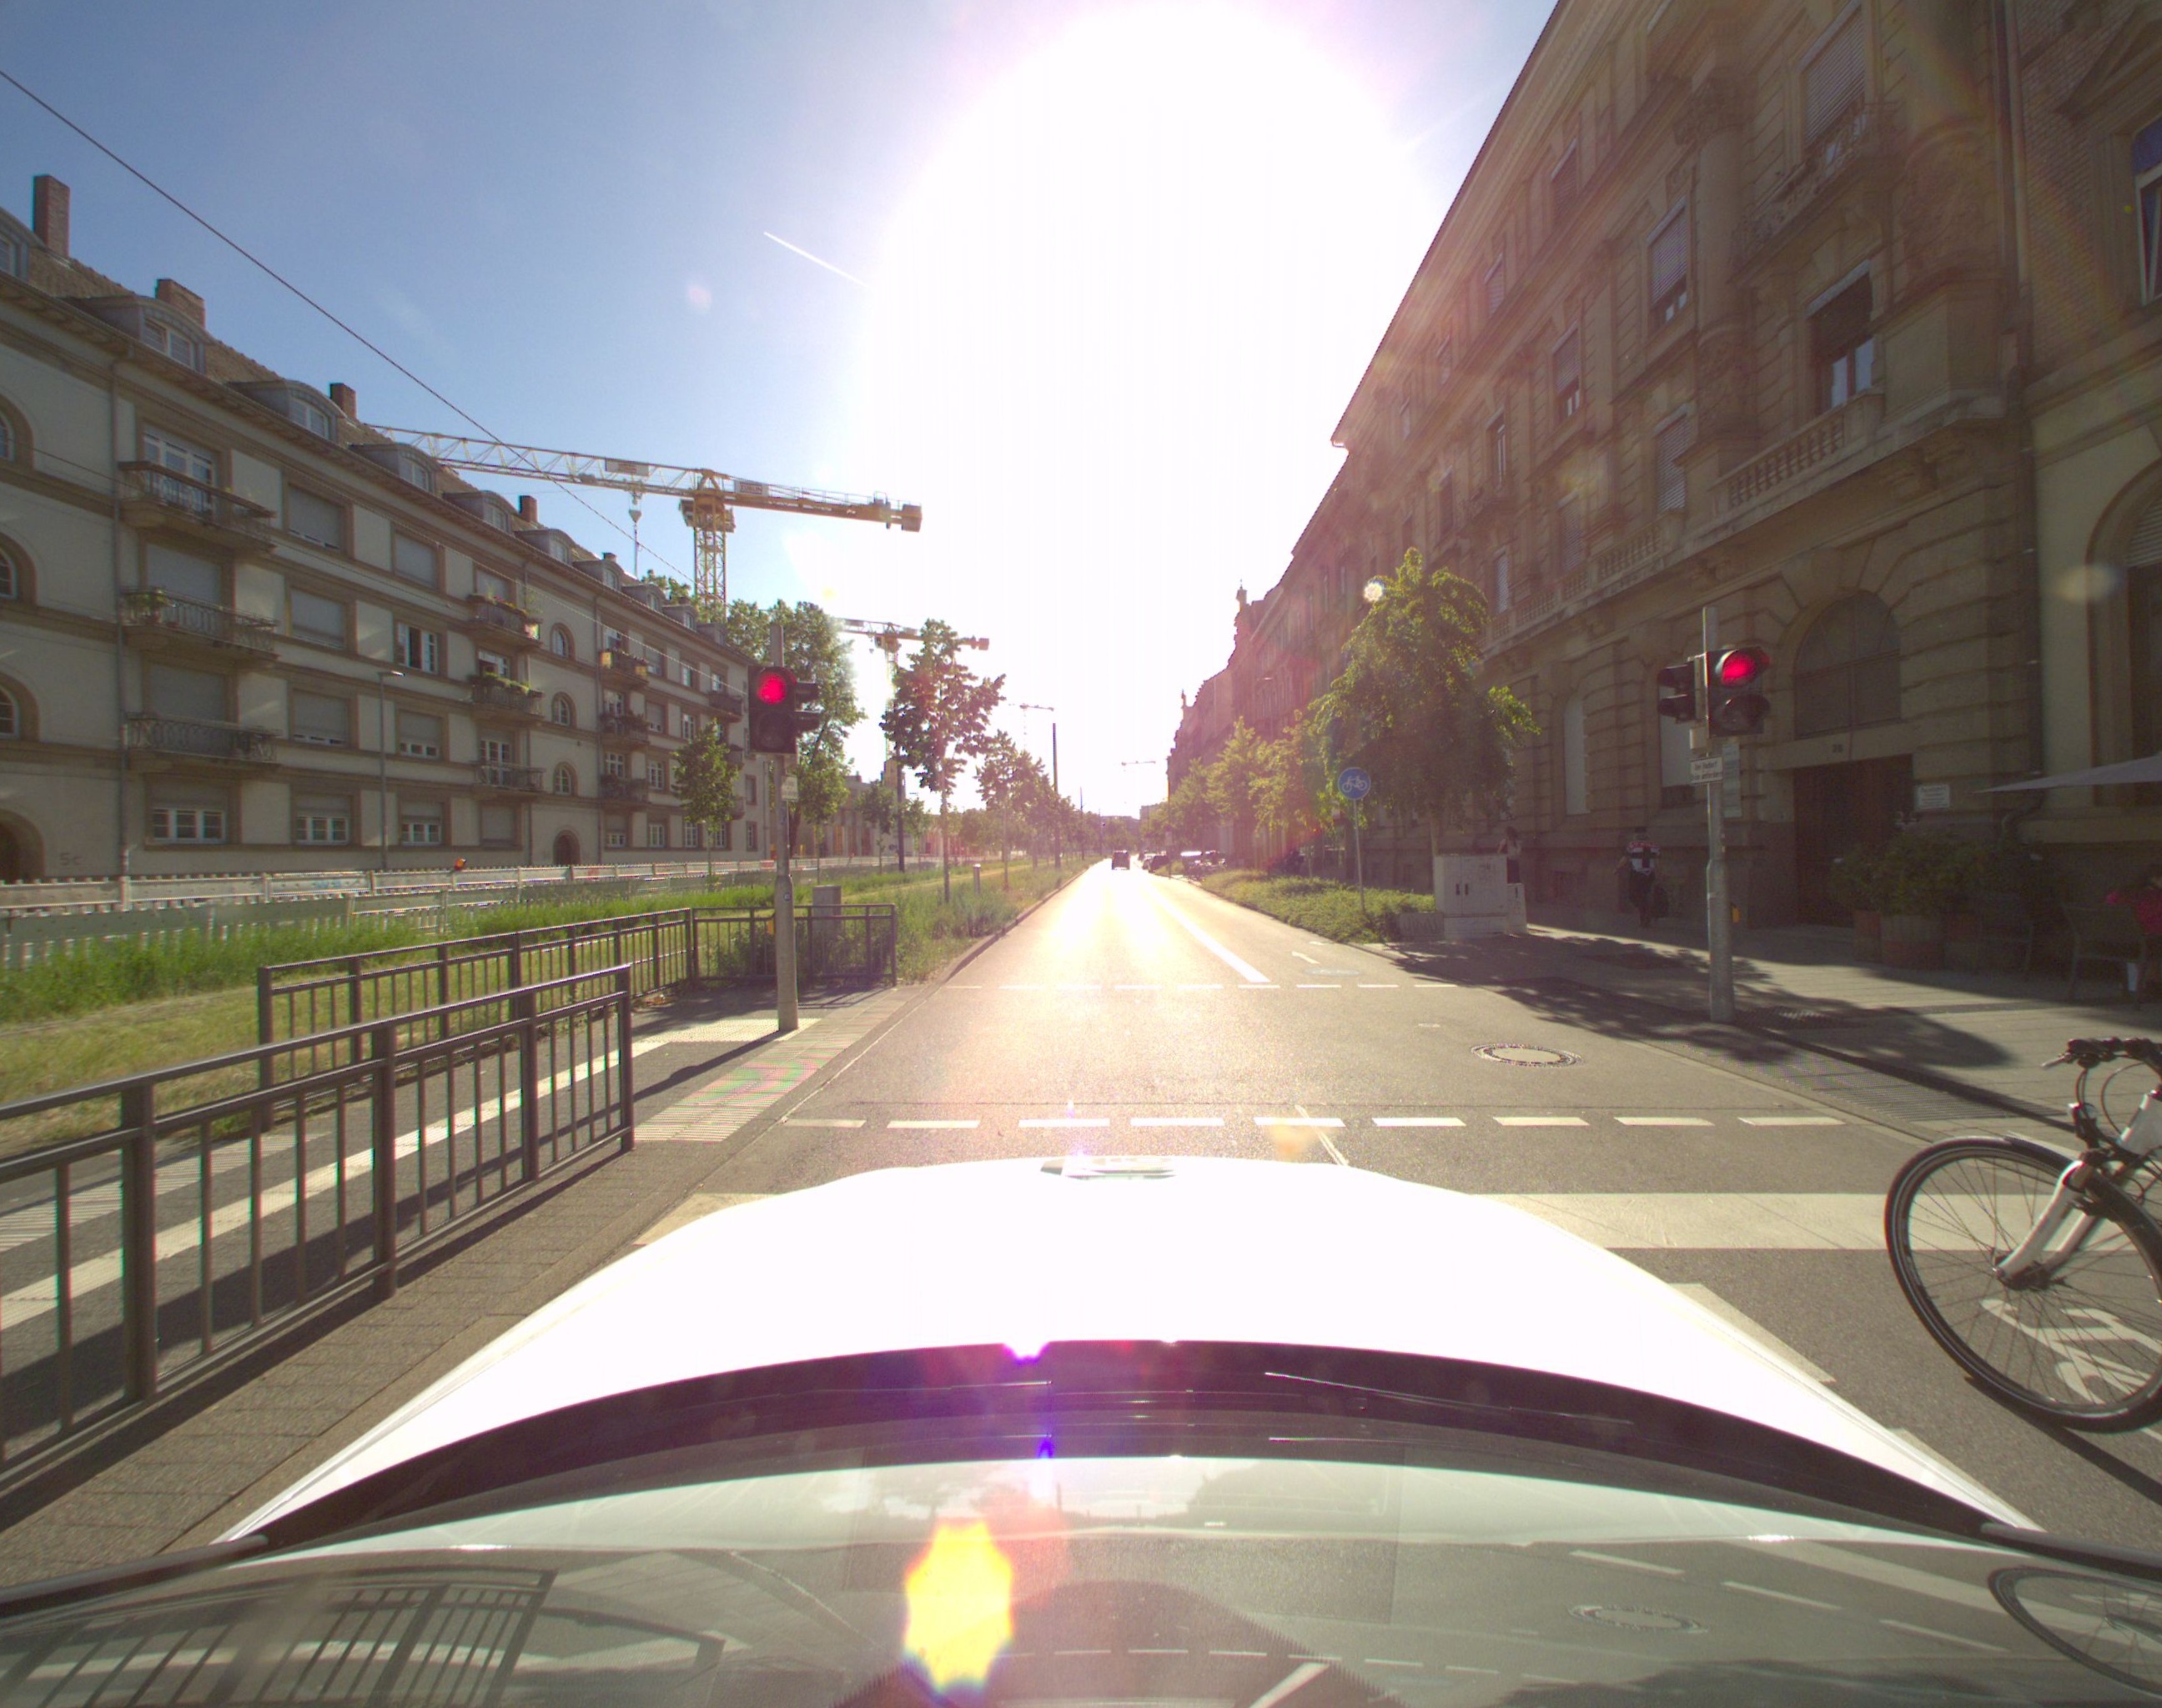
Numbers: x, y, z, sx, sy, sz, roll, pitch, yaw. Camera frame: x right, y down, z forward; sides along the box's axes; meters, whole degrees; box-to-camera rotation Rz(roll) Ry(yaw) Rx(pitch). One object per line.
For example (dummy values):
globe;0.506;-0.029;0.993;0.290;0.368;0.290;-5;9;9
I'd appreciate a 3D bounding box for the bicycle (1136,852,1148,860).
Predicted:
bicycle;10.269;0.273;137.611;1.875;1.233;0.499;-4;-1;-4

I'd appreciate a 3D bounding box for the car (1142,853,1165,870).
car;7.066;0.728;80.276;1.944;1.495;5.108;-3;0;2

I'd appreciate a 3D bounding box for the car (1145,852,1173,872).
car;6.465;0.657;67.575;1.760;1.477;4.447;-4;-1;-1

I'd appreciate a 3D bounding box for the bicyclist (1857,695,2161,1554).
bicyclist;2.635;0.571;1.828;0.722;1.817;1.088;0;0;-7

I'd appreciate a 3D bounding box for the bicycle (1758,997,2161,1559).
bicycle;2.650;0.987;1.705;0.722;1.006;1.948;0;0;-6

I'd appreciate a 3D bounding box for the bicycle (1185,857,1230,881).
bicycle;6.619;0.779;42.590;2.287;1.102;0.484;-3;0;-13

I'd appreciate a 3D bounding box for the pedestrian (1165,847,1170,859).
pedestrian;14.585;-0.198;137.556;0.814;2.014;1.046;0;-3;2

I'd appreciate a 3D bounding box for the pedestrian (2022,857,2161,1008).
pedestrian;8.925;0.630;6.955;0.715;1.183;0.881;-2;-1;1

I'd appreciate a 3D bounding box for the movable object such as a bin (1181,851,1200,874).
movable object such as a bin;7.329;0.532;54.667;1.264;1.463;1.647;0;2;7

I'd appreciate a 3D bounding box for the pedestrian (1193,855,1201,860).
pedestrian;14.337;0.458;100.702;0.770;0.553;2.008;-2;1;2

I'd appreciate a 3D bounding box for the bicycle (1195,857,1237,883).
bicycle;6.575;0.776;39.607;1.887;1.108;0.517;-3;-1;-4

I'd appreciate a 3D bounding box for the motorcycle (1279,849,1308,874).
motorcycle;11.523;0.404;44.249;0.862;1.266;2.983;0;-1;2

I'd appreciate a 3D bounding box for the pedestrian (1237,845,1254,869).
pedestrian;11.667;0.197;57.941;0.967;1.639;0.993;-3;1;2

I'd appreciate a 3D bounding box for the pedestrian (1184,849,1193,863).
pedestrian;13.030;0.249;98.566;0.992;1.731;0.866;0;-1;1

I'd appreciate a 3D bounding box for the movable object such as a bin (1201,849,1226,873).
movable object such as a bin;8.925;0.466;54.802;1.368;1.495;1.750;-4;-1;3

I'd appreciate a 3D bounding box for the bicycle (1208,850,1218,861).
bicycle;13.551;0.195;83.935;0.718;1.090;2.200;-3;0;2

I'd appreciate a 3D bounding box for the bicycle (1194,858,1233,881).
bicycle;6.671;0.772;41.079;1.811;1.056;0.571;-3;-1;-4

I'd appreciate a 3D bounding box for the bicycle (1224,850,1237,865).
bicycle;12.773;0.323;69.691;0.745;1.201;1.802;-3;-1;2

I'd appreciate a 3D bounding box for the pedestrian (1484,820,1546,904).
pedestrian;10.444;0.180;19.657;0.885;1.920;1.100;-3;0;7

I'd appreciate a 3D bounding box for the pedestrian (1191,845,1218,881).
pedestrian;6.254;0.466;41.130;0.904;1.735;0.842;-5;0;-24

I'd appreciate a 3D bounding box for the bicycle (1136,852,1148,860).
bicycle;10.464;0.347;139.141;1.821;1.078;0.664;-4;0;-4

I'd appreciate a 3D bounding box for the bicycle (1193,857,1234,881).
bicycle;6.726;0.741;41.422;1.971;1.108;0.435;-3;-1;-1

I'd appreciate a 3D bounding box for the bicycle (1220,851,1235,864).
bicycle;13.064;0.312;72.752;0.873;1.105;2.181;-4;0;-1

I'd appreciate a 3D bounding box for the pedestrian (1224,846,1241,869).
pedestrian;10.764;0.244;57.868;0.947;1.566;1.080;-2;1;1

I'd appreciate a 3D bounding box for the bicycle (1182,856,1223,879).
bicycle;6.580;0.729;44.021;2.040;1.107;0.610;-4;0;-4

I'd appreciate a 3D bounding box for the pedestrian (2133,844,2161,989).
pedestrian;9.868;0.541;6.897;0.722;1.282;0.888;-2;-1;1

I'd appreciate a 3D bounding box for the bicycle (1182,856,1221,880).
bicycle;6.589;0.735;44.429;1.970;1.124;0.481;-5;1;-4

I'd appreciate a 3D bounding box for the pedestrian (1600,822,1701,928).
pedestrian;9.633;0.346;13.843;0.963;1.692;1.117;-3;0;11

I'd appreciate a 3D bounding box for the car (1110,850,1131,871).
car;3.897;0.601;80.928;1.987;2.014;4.000;0;-1;1
